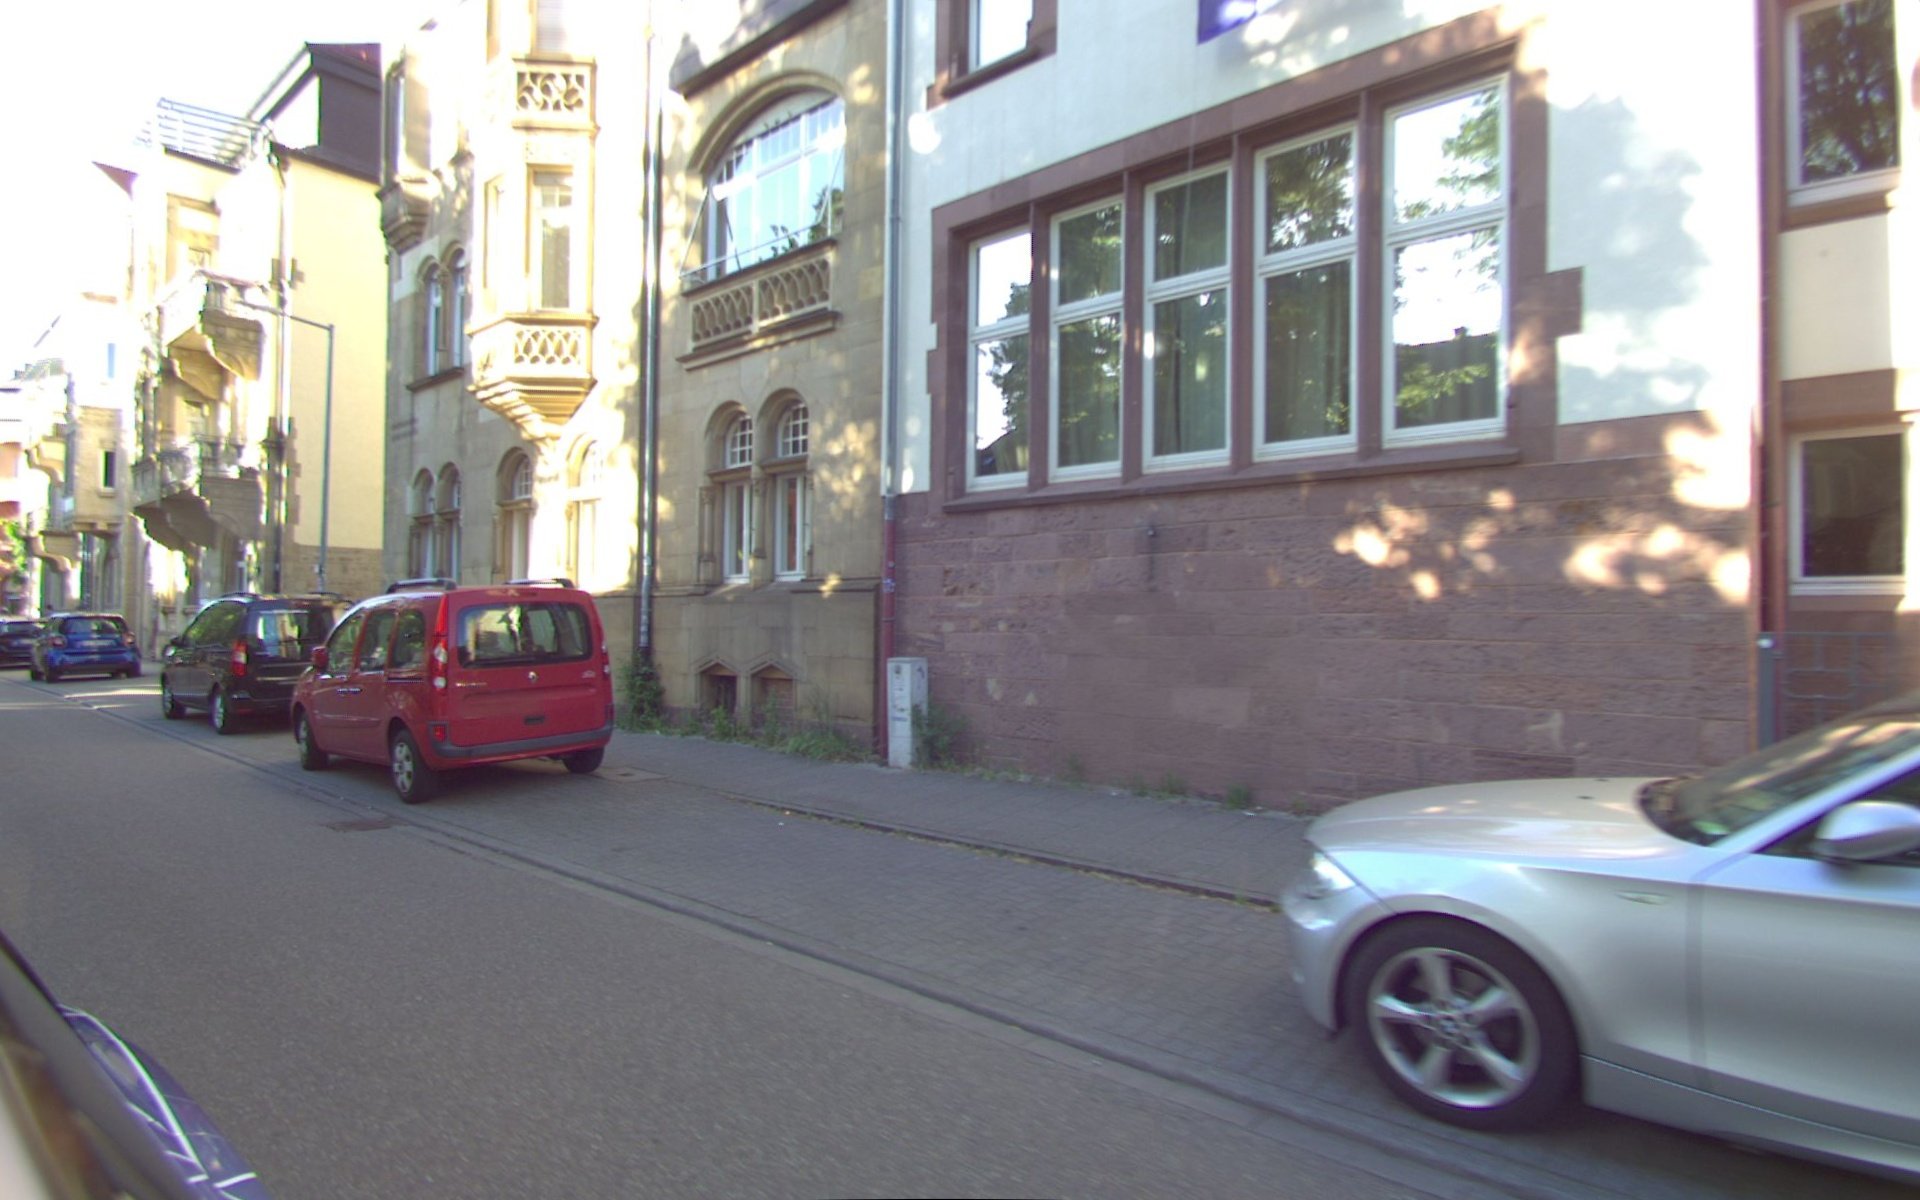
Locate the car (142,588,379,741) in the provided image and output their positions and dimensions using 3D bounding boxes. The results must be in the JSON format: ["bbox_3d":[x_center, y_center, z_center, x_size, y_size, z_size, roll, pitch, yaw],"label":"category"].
[{"bbox_3d":[-10.131,0.831,14.525,4.539,1.866,1.751,-1,-1,41],"label":"car"}]

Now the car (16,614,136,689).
[{"bbox_3d":[-20.189,1.122,23.096,2.860,1.520,1.666,-1,1,41],"label":"car"}]

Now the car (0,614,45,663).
[{"bbox_3d":[-31.332,1.250,32.942,3.769,1.477,1.673,-1,2,39],"label":"car"}]

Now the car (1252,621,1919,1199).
[{"bbox_3d":[3.093,0.798,2.729,4.099,1.477,1.727,-1,-1,39],"label":"car"}]

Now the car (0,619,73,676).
[{"bbox_3d":[-26.978,1.319,28.866,4.539,1.449,1.881,-1,1,41],"label":"car"}]

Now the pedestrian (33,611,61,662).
[{"bbox_3d":[-33.427,1.328,37.049,0.497,1.861,0.686,-1,-1,40],"label":"pedestrian"}]

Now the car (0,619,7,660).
[{"bbox_3d":[-36.739,1.456,37.523,3.997,1.477,1.724,-1,0,42],"label":"car"}]

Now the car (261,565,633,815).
[{"bbox_3d":[-5.159,0.714,9.902,4.322,1.921,1.779,-1,-1,41],"label":"car"}]
